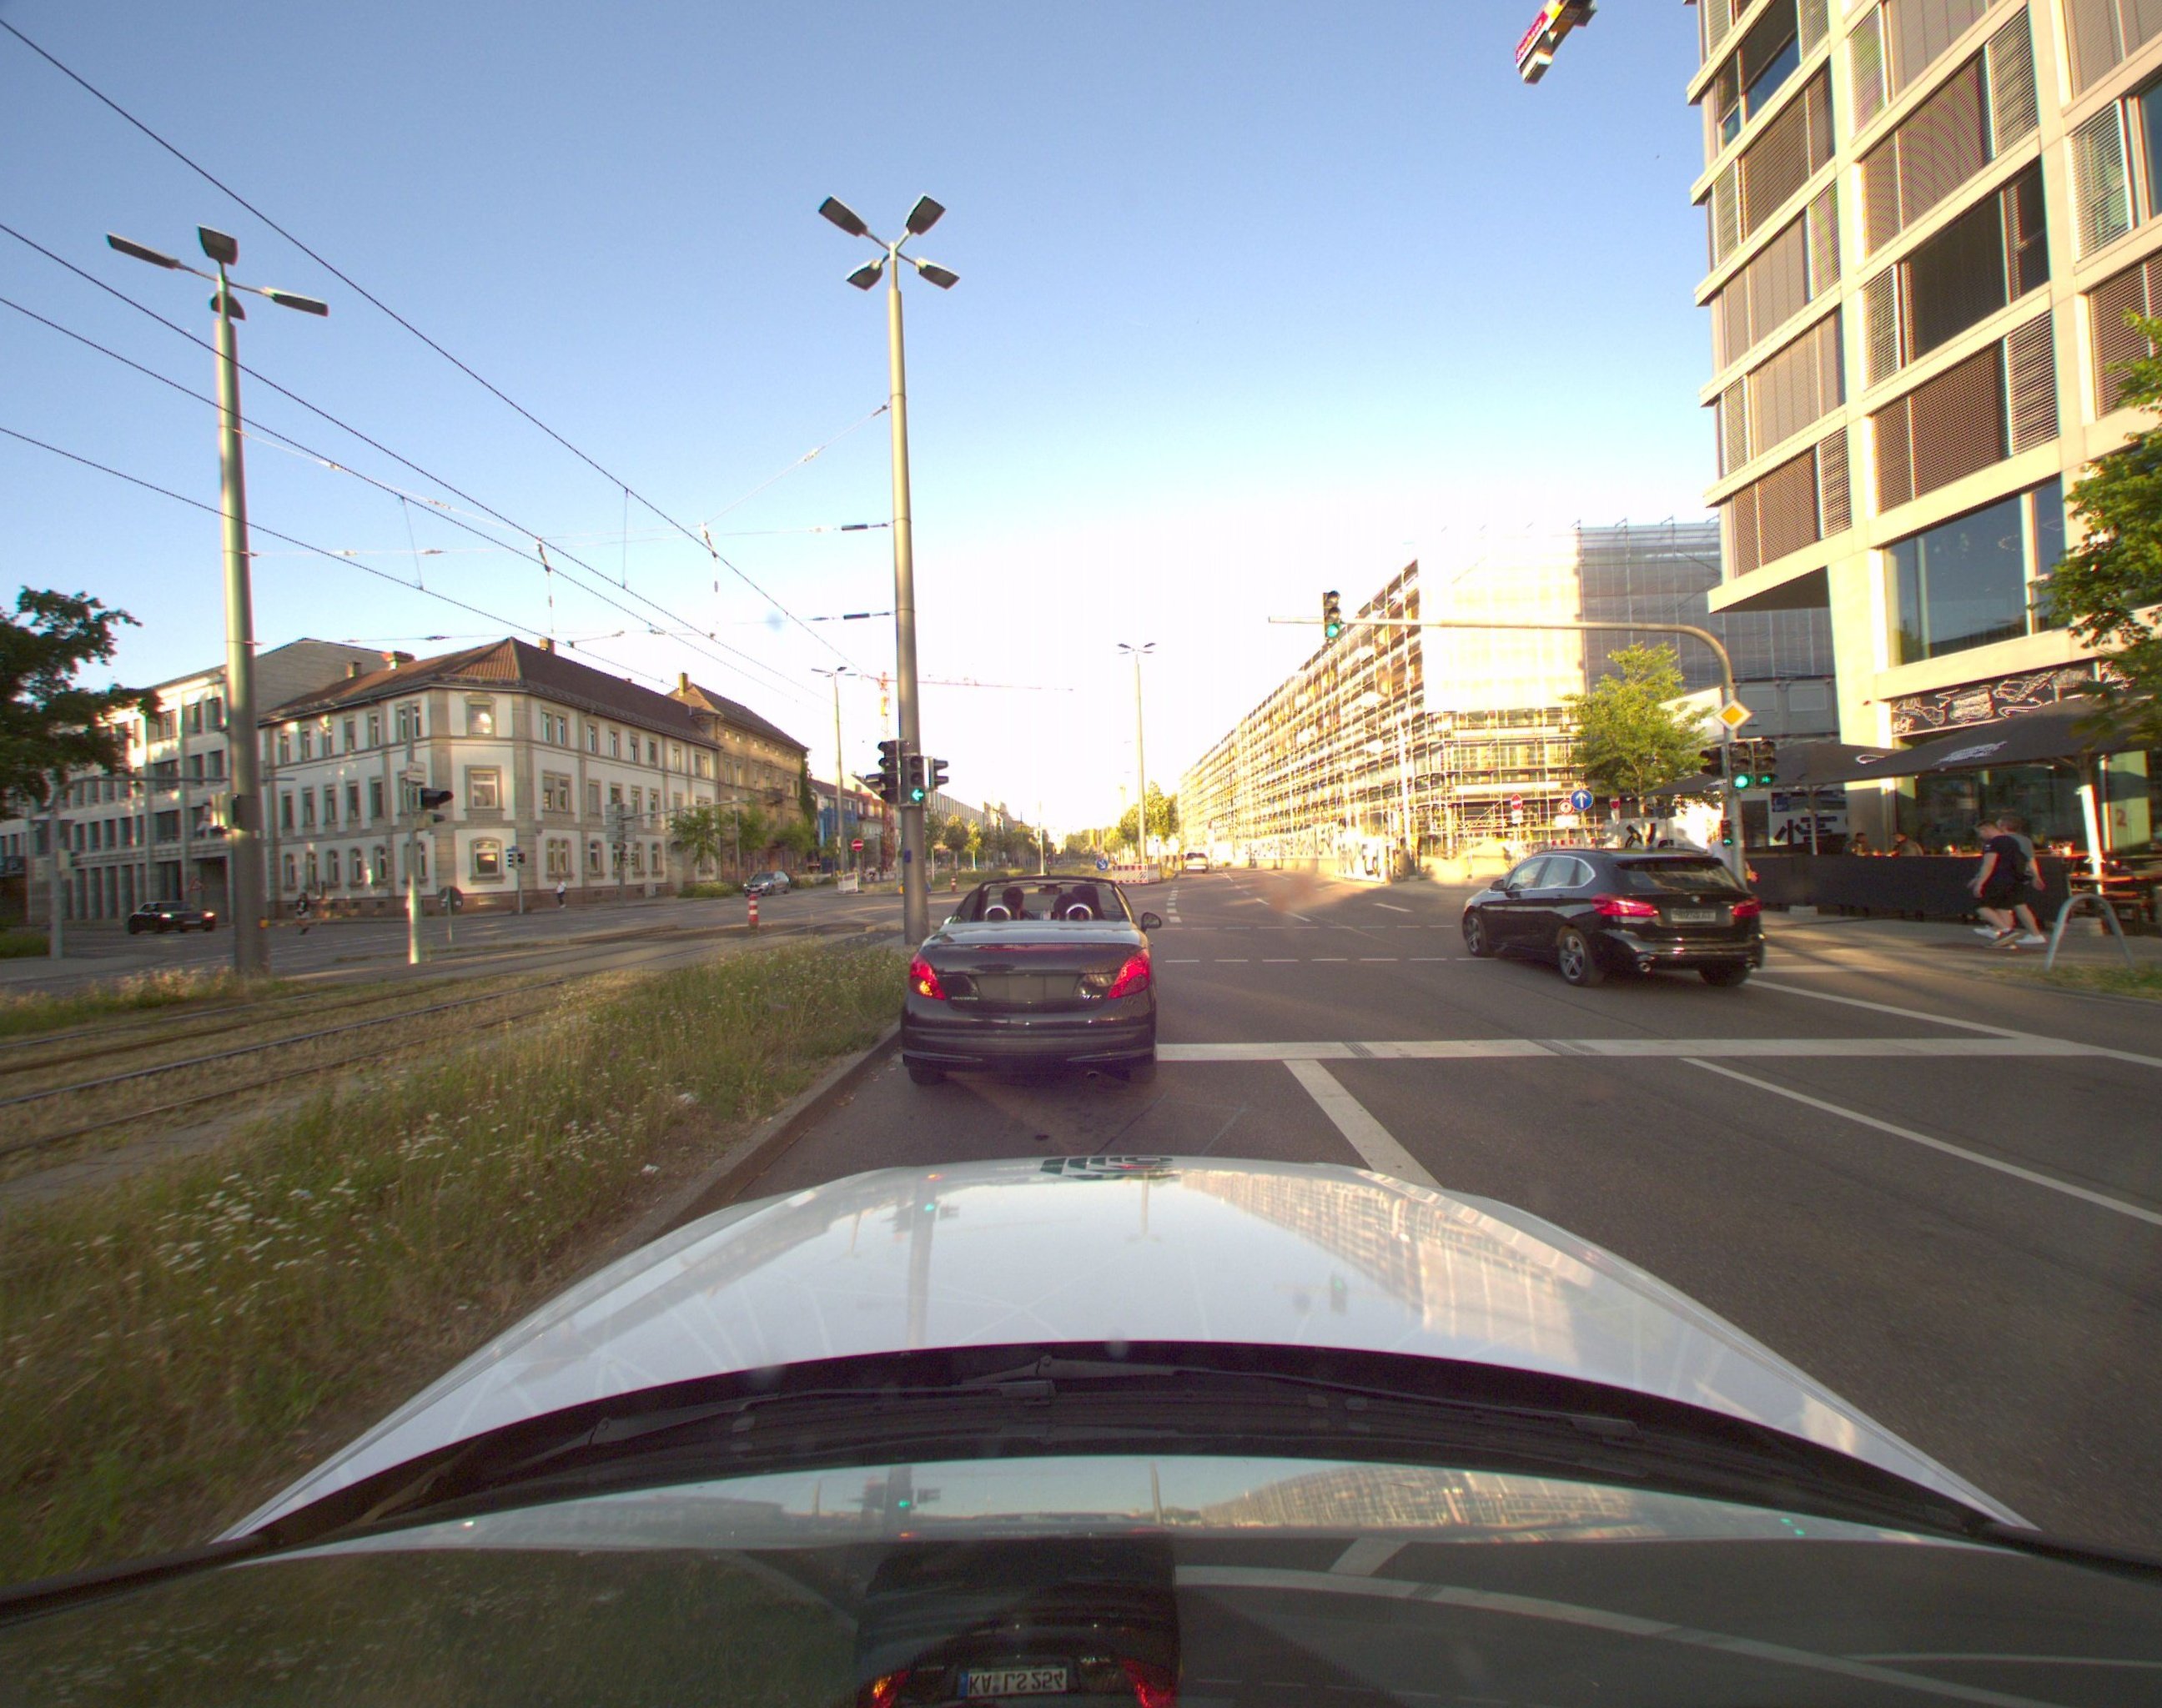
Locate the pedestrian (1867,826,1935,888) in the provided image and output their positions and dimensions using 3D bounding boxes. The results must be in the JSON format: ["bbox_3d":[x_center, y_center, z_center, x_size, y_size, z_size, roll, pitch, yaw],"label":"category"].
[{"bbox_3d":[18.826,0.067,18.716,0.740,1.319,0.717,-5,-1,13],"label":"pedestrian"}]

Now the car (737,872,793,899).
[{"bbox_3d":[-21.281,2.099,54.948,1.986,1.580,4.125,-4,0,1],"label":"car"}]

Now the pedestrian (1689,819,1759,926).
[{"bbox_3d":[11.523,0.319,14.598,0.682,1.847,0.762,-3,0,-37],"label":"pedestrian"}]

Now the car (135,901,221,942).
[{"bbox_3d":[-40.782,3.011,36.787,3.949,1.555,1.801,0,0,30],"label":"car"}]

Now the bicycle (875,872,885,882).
[{"bbox_3d":[-20.492,2.392,83.232,0.587,0.975,1.557,0,0,2],"label":"bicycle"}]

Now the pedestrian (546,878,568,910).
[{"bbox_3d":[-28.947,2.207,45.005,0.695,1.716,0.817,-1,0,30],"label":"pedestrian"}]

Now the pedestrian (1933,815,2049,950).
[{"bbox_3d":[12.069,0.367,10.824,0.651,1.702,0.689,-4,0,0],"label":"pedestrian"}]

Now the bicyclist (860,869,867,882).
[{"bbox_3d":[-21.596,2.148,80.783,0.587,1.266,0.460,0,0,1],"label":"bicyclist"}]

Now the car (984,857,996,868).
[{"bbox_3d":[-16.820,1.626,150.848,1.651,1.964,4.268,0,0,2],"label":"car"}]

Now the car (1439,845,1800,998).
[{"bbox_3d":[6.478,0.691,10.618,1.812,1.519,4.797,-1,0,4],"label":"car"}]

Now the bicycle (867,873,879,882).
[{"bbox_3d":[-21.403,2.415,83.752,0.769,0.945,1.640,0,0,2],"label":"bicycle"}]

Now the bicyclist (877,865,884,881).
[{"bbox_3d":[-20.493,1.933,83.235,0.587,1.569,0.711,0,0,1],"label":"bicyclist"}]

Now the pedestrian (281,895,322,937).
[{"bbox_3d":[-28.470,2.241,29.767,0.601,1.458,0.935,0,-1,-1],"label":"pedestrian"}]

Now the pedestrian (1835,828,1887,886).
[{"bbox_3d":[18.799,0.069,19.644,0.608,1.319,0.624,-5,-1,18],"label":"pedestrian"}]

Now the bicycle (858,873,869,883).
[{"bbox_3d":[-21.596,2.397,80.788,0.587,0.989,1.557,0,0,2],"label":"bicycle"}]

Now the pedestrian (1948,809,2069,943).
[{"bbox_3d":[12.842,0.295,11.300,0.683,1.734,0.761,-5,0,0],"label":"pedestrian"}]

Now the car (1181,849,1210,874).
[{"bbox_3d":[8.433,0.534,60.269,1.826,1.672,4.287,-1,0,4],"label":"car"}]

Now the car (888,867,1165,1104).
[{"bbox_3d":[-0.263,0.837,6.973,1.668,1.352,4.002,-1,0,2],"label":"car"}]

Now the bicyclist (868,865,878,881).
[{"bbox_3d":[-21.403,1.938,83.758,0.769,1.571,0.793,0,0,1],"label":"bicyclist"}]

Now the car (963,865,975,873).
[{"bbox_3d":[-20.762,2.764,151.010,1.651,1.431,3.897,0,0,2],"label":"car"}]
